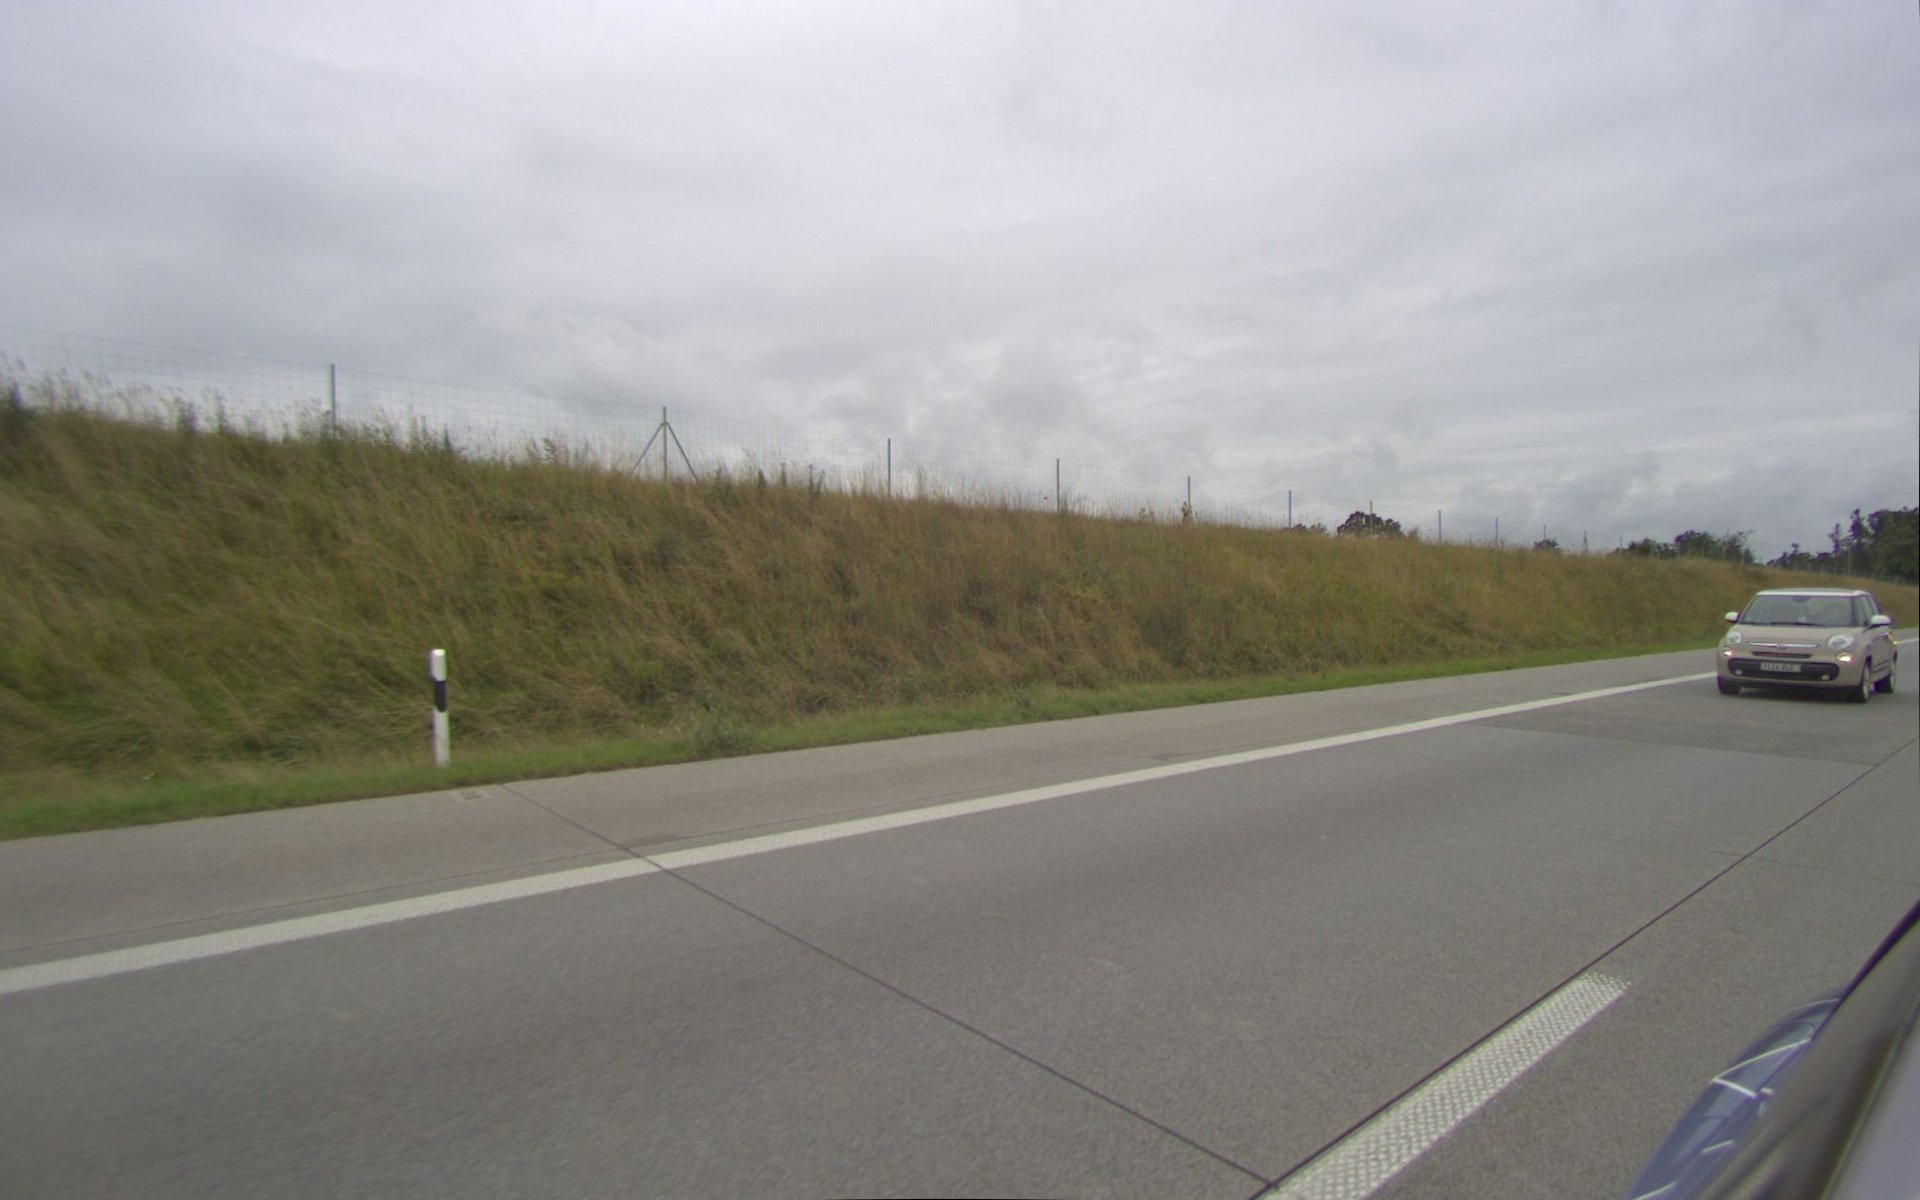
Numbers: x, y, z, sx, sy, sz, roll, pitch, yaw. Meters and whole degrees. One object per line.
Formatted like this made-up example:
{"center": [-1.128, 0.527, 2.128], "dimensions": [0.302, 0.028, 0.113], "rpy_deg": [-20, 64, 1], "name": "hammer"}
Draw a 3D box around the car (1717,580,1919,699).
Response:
{"center": [13.690, 0.555, 16.045], "dimensions": [4.490, 1.625, 1.788], "rpy_deg": [1, 0, -41], "name": "car"}
